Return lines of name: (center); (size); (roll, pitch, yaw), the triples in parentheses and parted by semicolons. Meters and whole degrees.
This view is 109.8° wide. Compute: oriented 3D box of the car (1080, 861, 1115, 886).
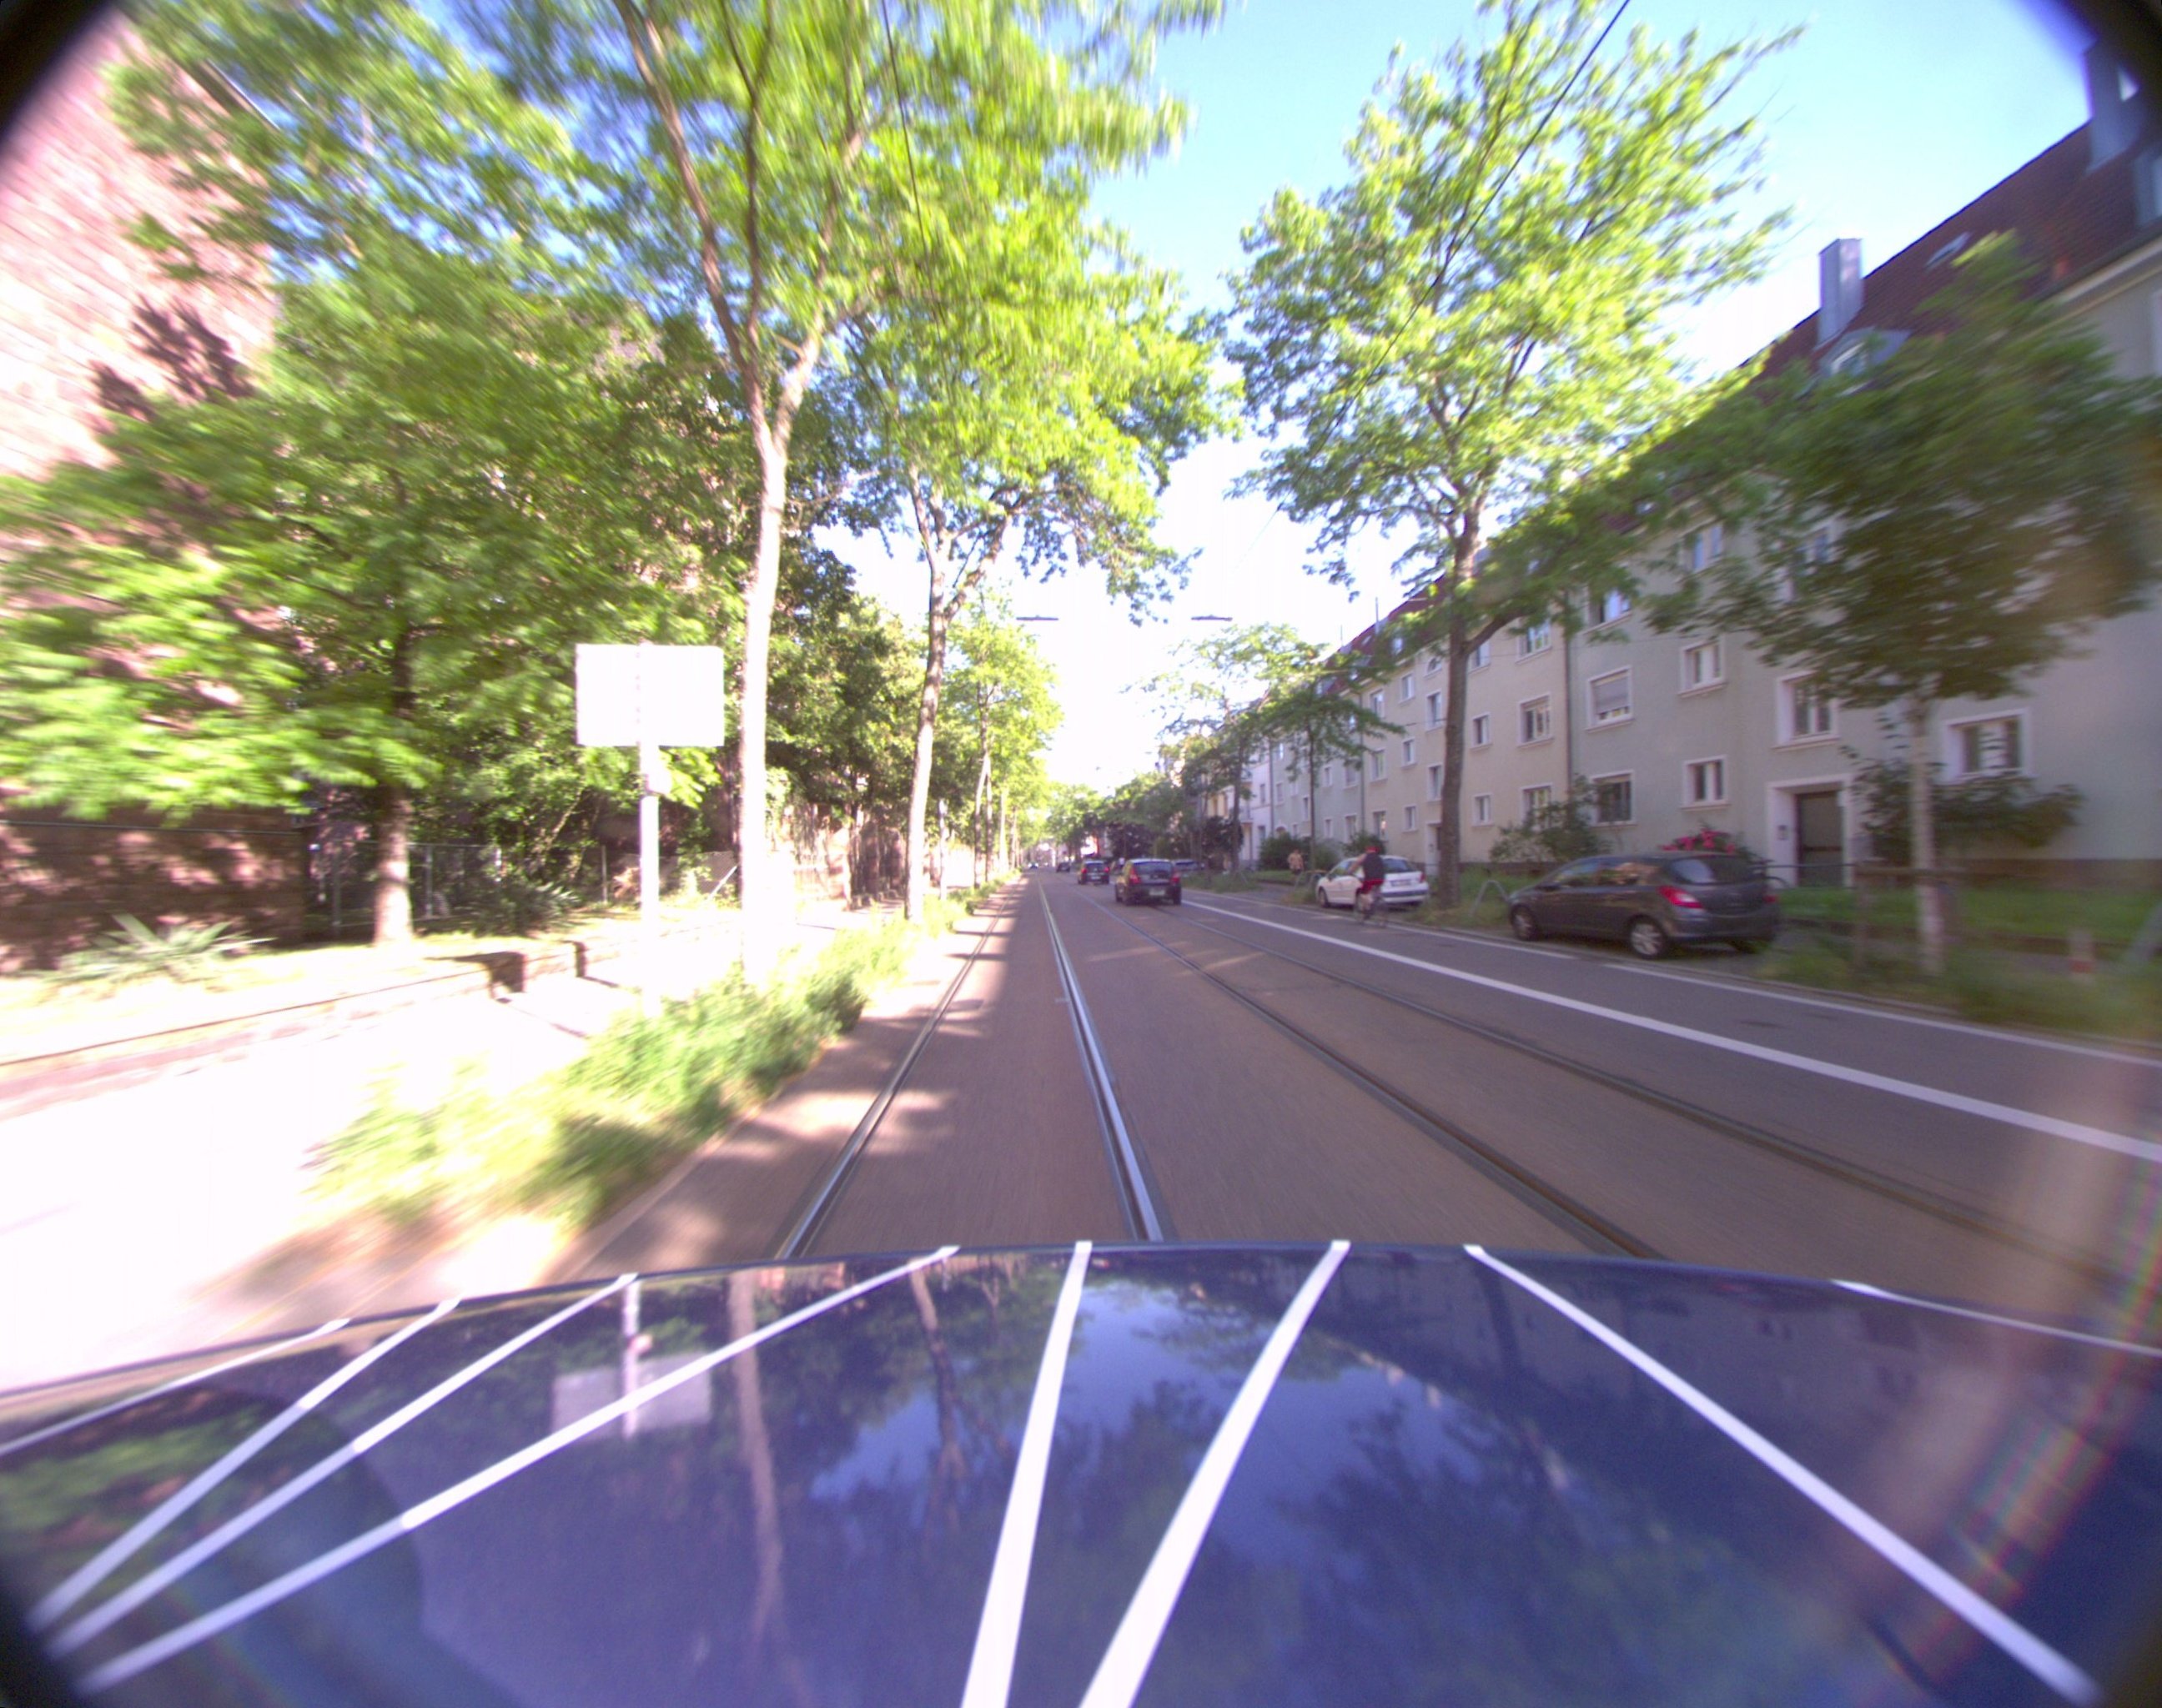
car: (0.994, 1.179, 47.379); (1.704, 1.431, 4.070); (-1, 0, -5)

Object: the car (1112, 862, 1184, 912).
car: (2.133, 1.025, 25.289); (1.704, 1.462, 4.070); (-1, 0, -5)

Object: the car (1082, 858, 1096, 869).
car: (1.330, 1.540, 126.545); (1.876, 1.812, 4.769); (-2, 0, -5)

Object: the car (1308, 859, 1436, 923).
car: (7.905, 0.940, 21.067); (1.707, 1.476, 4.078); (-4, 0, -4)

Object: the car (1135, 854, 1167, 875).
car: (5.464, 0.810, 59.868); (1.763, 1.502, 4.437); (-2, 0, -5)

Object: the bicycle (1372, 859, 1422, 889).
bicycle: (13.644, 0.859, 32.816); (1.912, 1.170, 0.521); (-3, 0, -6)

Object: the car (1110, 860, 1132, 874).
car: (4.275, 1.393, 81.715); (1.710, 1.398, 4.332); (-2, 0, -4)

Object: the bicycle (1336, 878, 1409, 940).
bicycle: (6.175, 1.138, 16.217); (0.696, 1.170, 1.912); (2, 0, -3)

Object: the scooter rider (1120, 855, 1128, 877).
scooter rider: (3.507, 0.970, 61.480); (0.498, 1.689, 0.786); (2, 0, -4)

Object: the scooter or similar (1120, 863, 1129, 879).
scooter or similar: (3.495, 1.365, 61.451); (0.522, 1.290, 1.377); (2, 0, -3)

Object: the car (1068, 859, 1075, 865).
car: (-2.263, 2.011, 186.426); (1.558, 1.446, 3.667); (-2, 0, -4)

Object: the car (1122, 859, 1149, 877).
car: (5.026, 1.276, 70.588); (1.822, 1.502, 4.369); (-2, 0, -5)

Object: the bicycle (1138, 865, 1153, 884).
bicycle: (4.082, 1.308, 48.125); (0.628, 1.170, 1.912); (2, 0, -3)

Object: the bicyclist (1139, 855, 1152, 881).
bicyclist: (4.088, 0.886, 48.185); (0.628, 1.629, 0.940); (2, 0, -4)

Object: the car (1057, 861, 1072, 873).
car: (-2.222, 1.709, 101.456); (1.763, 1.431, 4.522); (-1, 0, -5)

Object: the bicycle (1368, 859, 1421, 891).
bicycle: (12.474, 0.832, 30.252); (1.912, 1.170, 0.521); (-3, 0, -6)

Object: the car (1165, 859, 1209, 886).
car: (6.445, 1.092, 46.541); (1.822, 1.476, 4.205); (-2, 0, -4)

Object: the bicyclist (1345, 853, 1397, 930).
bicyclist: (6.181, 0.782, 16.247); (0.712, 1.597, 0.865); (2, 0, -4)

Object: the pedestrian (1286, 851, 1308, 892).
pedestrian: (9.610, 0.755, 33.809); (0.693, 1.791, 0.813); (-1, 0, -4)

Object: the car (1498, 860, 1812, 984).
car: (8.378, 0.876, 11.579); (1.692, 1.476, 3.758); (-4, 0, -5)

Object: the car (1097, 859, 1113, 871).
car: (3.164, 1.469, 101.020); (1.781, 1.532, 4.484); (-2, 0, -3)
